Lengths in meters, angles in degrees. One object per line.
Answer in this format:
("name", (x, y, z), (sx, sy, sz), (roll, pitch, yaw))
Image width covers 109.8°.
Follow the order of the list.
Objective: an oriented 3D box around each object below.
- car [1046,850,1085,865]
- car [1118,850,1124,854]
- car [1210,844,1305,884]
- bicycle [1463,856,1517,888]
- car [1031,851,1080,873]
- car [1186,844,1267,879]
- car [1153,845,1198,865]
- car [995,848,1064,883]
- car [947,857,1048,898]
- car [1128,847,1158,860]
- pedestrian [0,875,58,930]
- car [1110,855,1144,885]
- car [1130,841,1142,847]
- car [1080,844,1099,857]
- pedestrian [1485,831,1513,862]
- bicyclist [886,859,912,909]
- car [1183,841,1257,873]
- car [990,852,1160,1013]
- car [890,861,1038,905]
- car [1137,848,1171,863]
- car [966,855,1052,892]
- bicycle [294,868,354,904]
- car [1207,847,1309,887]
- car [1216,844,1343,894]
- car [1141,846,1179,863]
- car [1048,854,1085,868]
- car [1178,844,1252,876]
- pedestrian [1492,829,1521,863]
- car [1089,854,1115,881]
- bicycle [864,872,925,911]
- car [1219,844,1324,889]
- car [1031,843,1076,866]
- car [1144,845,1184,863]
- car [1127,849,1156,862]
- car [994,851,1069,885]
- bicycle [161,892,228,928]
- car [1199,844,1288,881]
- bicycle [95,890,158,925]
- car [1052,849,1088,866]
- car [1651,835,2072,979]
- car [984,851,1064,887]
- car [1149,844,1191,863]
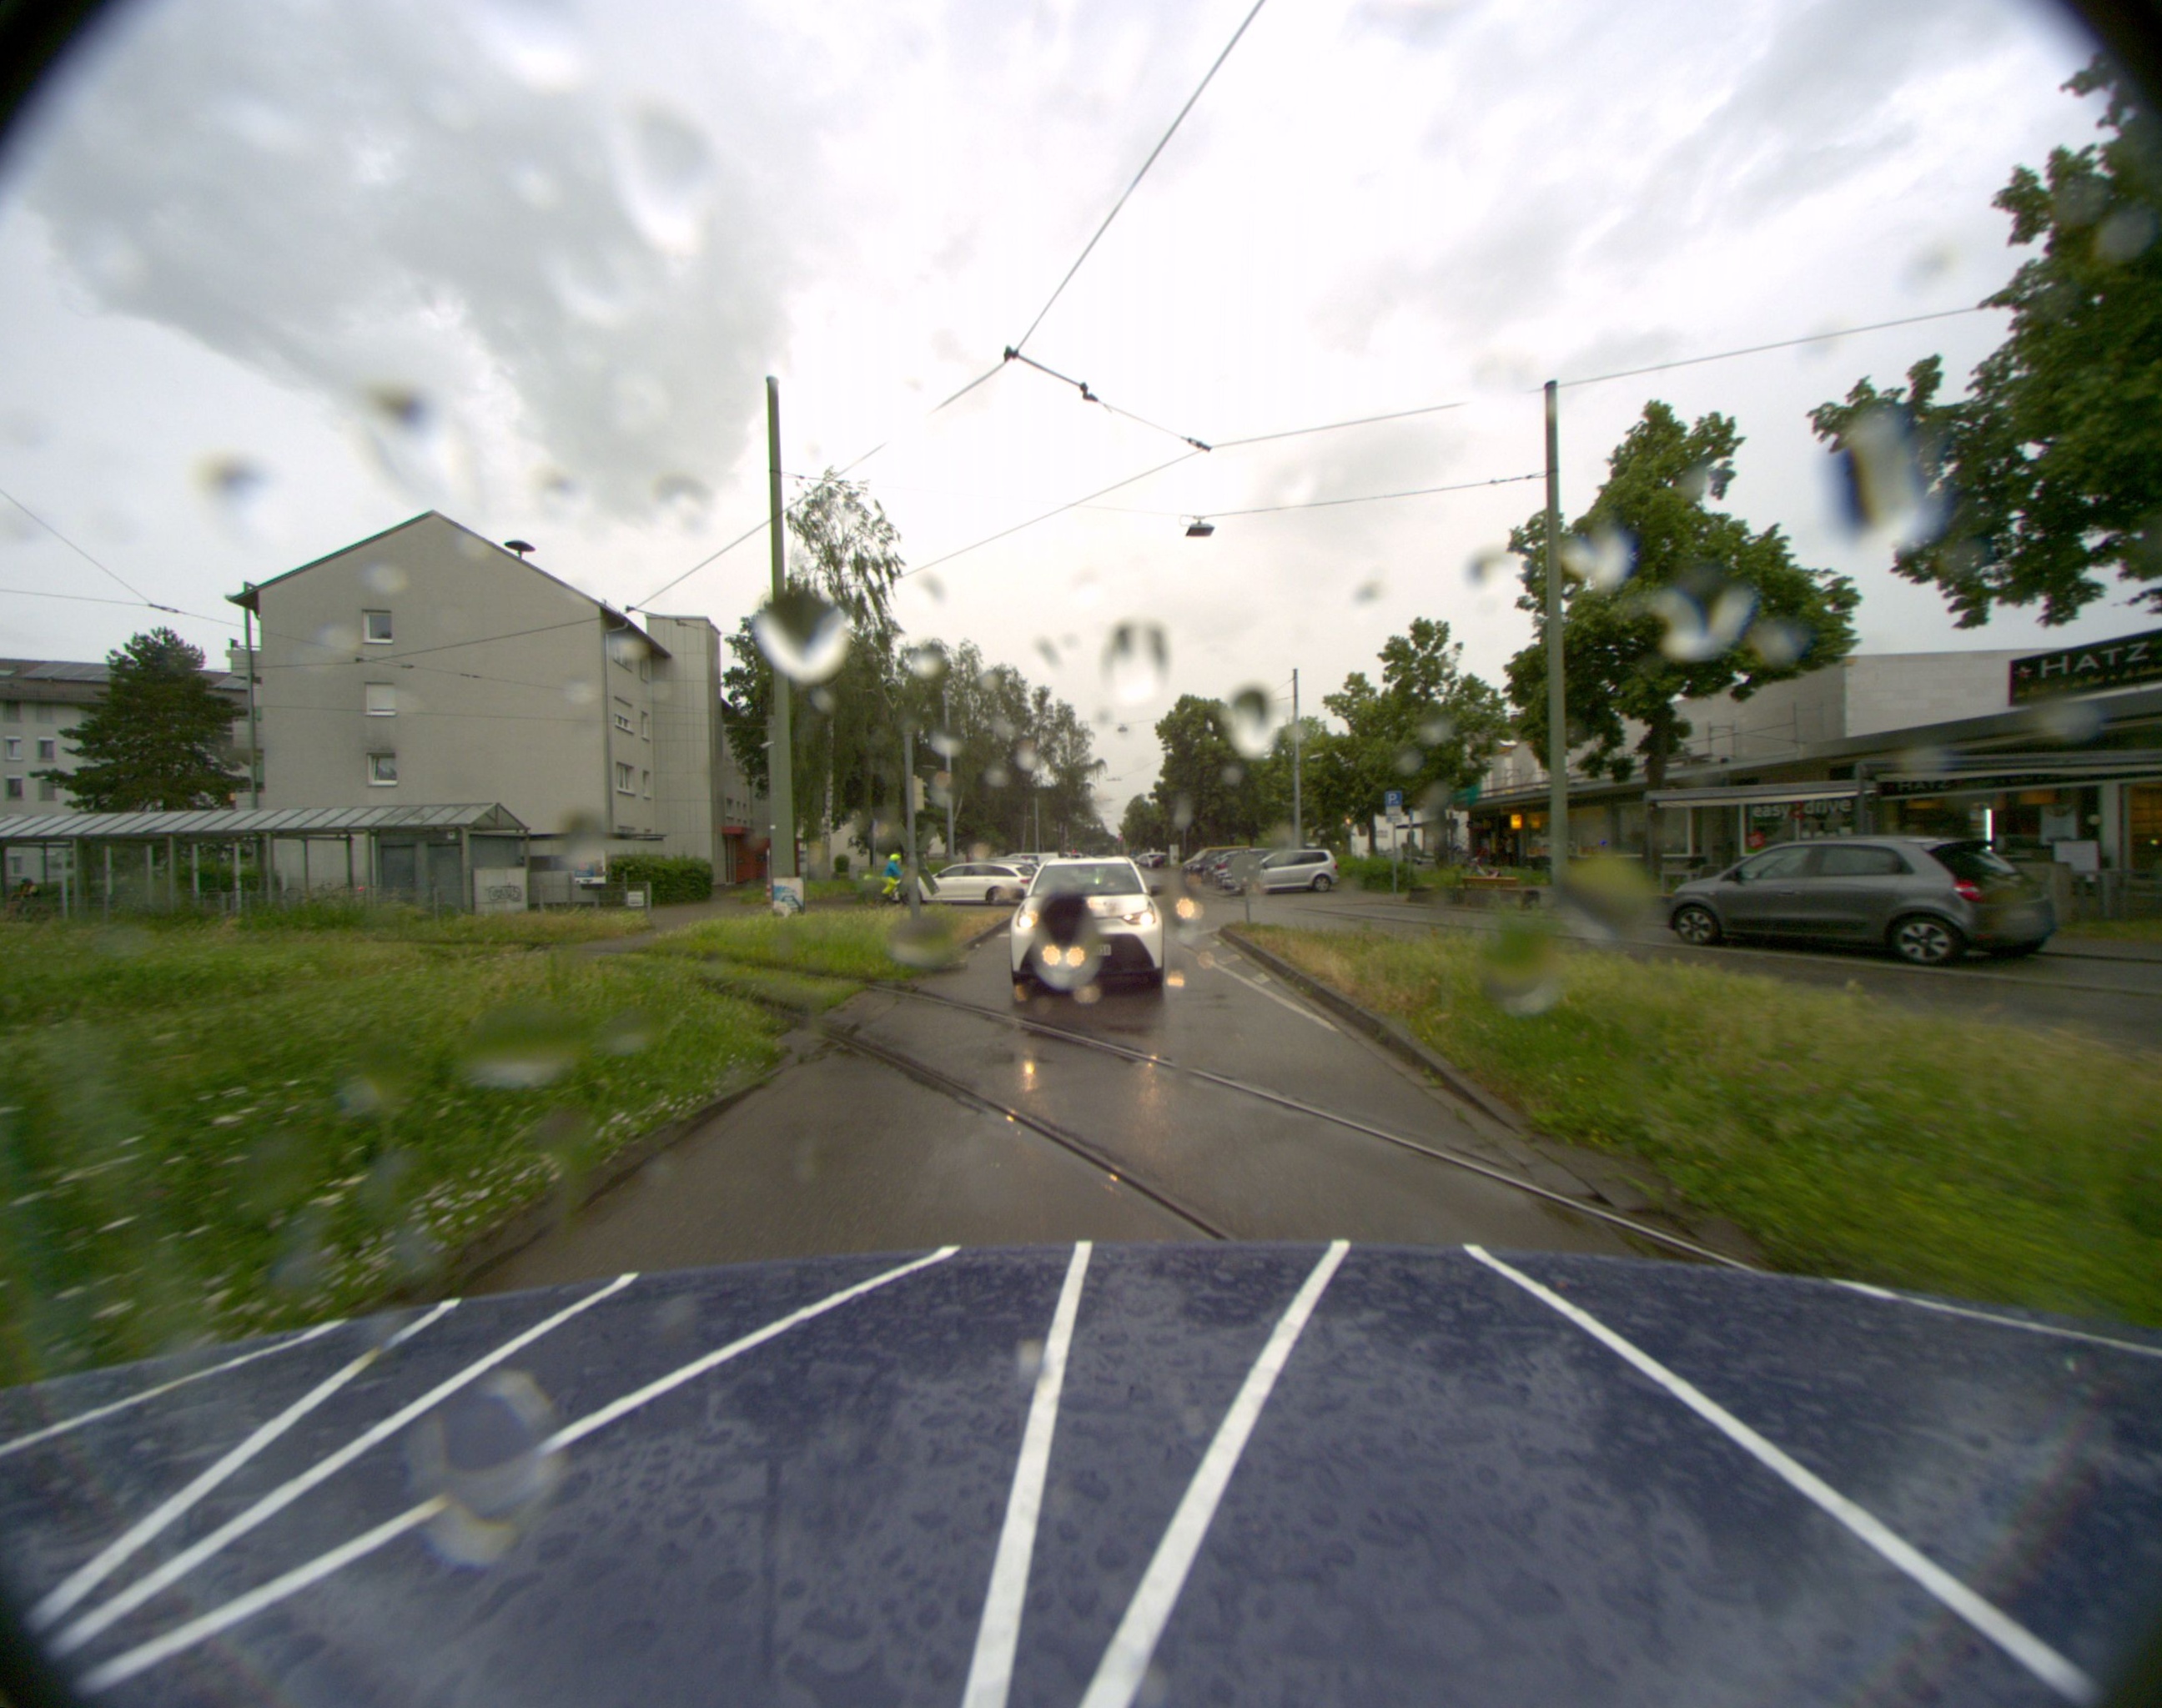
("car", (-1.839, 0.476, 91.920), (4.546, 1.574, 1.899), (-3, 0, 0))
("car", (13.026, -0.605, 247.152), (1.998, 1.320, 4.000), (-3, 0, 2))
("car", (8.497, 0.463, 36.784), (4.088, 1.699, 1.899), (-3, 0, 0))
("bicycle", (14.169, 0.600, 26.387), (0.594, 1.066, 1.748), (-1, 0, -16))
("car", (-2.418, 0.751, 73.319), (4.546, 1.932, 1.899), (-3, 0, 0))
("car", (8.020, 0.410, 42.213), (4.088, 1.699, 1.899), (-3, 0, 0))
("car", (10.192, 0.067, 82.003), (4.546, 1.932, 1.899), (-3, 0, 0))
("car", (-3.415, 0.745, 50.915), (4.443, 2.050, 1.722), (-3, 1, -2))
("car", (-3.563, 0.981, 32.900), (3.996, 1.477, 1.723), (-3, 1, 3))
("car", (9.997, -0.121, 122.243), (4.546, 1.932, 1.899), (-3, 0, 0))
("pedestrian", (-31.948, 1.457, 23.059), (0.636, 1.563, 0.789), (-3, 1, 0))
("car", (2.859, 0.962, 47.248), (1.961, 1.544, 3.999), (-2, 2, 4))
("car", (18.518, -3.479, 254.921), (3.996, 1.688, 2.000), (-3, 1, 2))
("car", (2.220, -0.781, 188.741), (4.546, 2.928, 1.899), (-3, 0, 0))
("pedestrian", (21.967, -0.379, 39.960), (1.078, 1.575, 0.948), (-1, 2, 12))
("bicyclist", (-5.700, 0.917, 23.753), (0.699, 1.507, 0.724), (-2, 0, -17))
("car", (9.289, 0.201, 51.075), (4.546, 1.932, 1.899), (-3, 0, 0))
("car", (0.049, 0.867, 9.754), (1.719, 1.613, 3.717), (-2, -2, 3))
("car", (-4.049, 0.994, 26.832), (4.837, 1.449, 2.000), (0, 0, 2))
("car", (10.384, 0.253, 108.288), (4.546, 1.932, 1.899), (-3, 0, 0))
("car", (-3.577, 0.960, 38.036), (3.996, 1.576, 1.723), (-3, 1, 3))
("bicycle", (-21.910, 0.906, 22.025), (0.377, 0.950, 1.238), (-3, 1, 5))
("car", (7.963, 0.589, 34.463), (4.088, 1.562, 2.000), (-3, 0, 0))
("car", (7.619, 0.571, 29.492), (4.334, 1.664, 2.000), (-3, 0, 0))
("car", (9.961, 0.023, 95.891), (4.546, 1.932, 1.899), (-3, 0, 0))
("car", (-1.834, 0.848, 95.352), (4.546, 1.574, 1.899), (-3, 0, 0))
("car", (8.395, 0.356, 47.952), (4.302, 1.799, 1.899), (-3, 0, 0))
("pedestrian", (21.717, -0.423, 38.809), (1.078, 1.704, 0.948), (-1, 2, 12))
("car", (1.703, 1.107, 62.372), (1.998, 2.002, 4.000), (-3, 0, 1))
("bicycle", (-5.819, 1.145, 23.712), (1.755, 1.123, 0.727), (-2, 0, -17))
("car", (7.990, 0.534, 32.138), (3.944, 1.664, 1.794), (-3, 0, 0))
("car", (-2.829, 0.036, 77.537), (4.443, 2.050, 1.722), (-3, 1, -2))
("car", (10.129, 0.029, 92.675), (4.546, 1.932, 1.899), (-3, 0, 0))
("car", (9.870, 0.185, 125.092), (4.546, 1.932, 1.899), (-3, 0, 0))
("car", (-3.109, 0.861, 47.943), (4.441, 1.835, 1.723), (-3, 1, 3))
("bicycle", (-25.928, 1.624, 22.241), (0.377, 0.942, 1.238), (-3, 1, 5))
("car", (8.304, 0.432, 39.038), (4.088, 1.699, 1.899), (-3, 0, 0))
("bicycle", (-28.153, 1.569, 22.432), (0.418, 0.942, 1.306), (-4, 1, -14))
("car", (-1.389, 0.464, 98.165), (4.546, 2.013, 1.899), (-3, 0, 0))
("car", (10.112, 0.598, 10.253), (1.553, 1.495, 3.618), (-4, 0, -16))
("car", (-3.375, 0.873, 45.561), (4.441, 1.835, 1.723), (-3, 1, 3))
("car", (10.097, -0.026, 86.428), (4.546, 1.932, 1.899), (-3, 0, 0))
